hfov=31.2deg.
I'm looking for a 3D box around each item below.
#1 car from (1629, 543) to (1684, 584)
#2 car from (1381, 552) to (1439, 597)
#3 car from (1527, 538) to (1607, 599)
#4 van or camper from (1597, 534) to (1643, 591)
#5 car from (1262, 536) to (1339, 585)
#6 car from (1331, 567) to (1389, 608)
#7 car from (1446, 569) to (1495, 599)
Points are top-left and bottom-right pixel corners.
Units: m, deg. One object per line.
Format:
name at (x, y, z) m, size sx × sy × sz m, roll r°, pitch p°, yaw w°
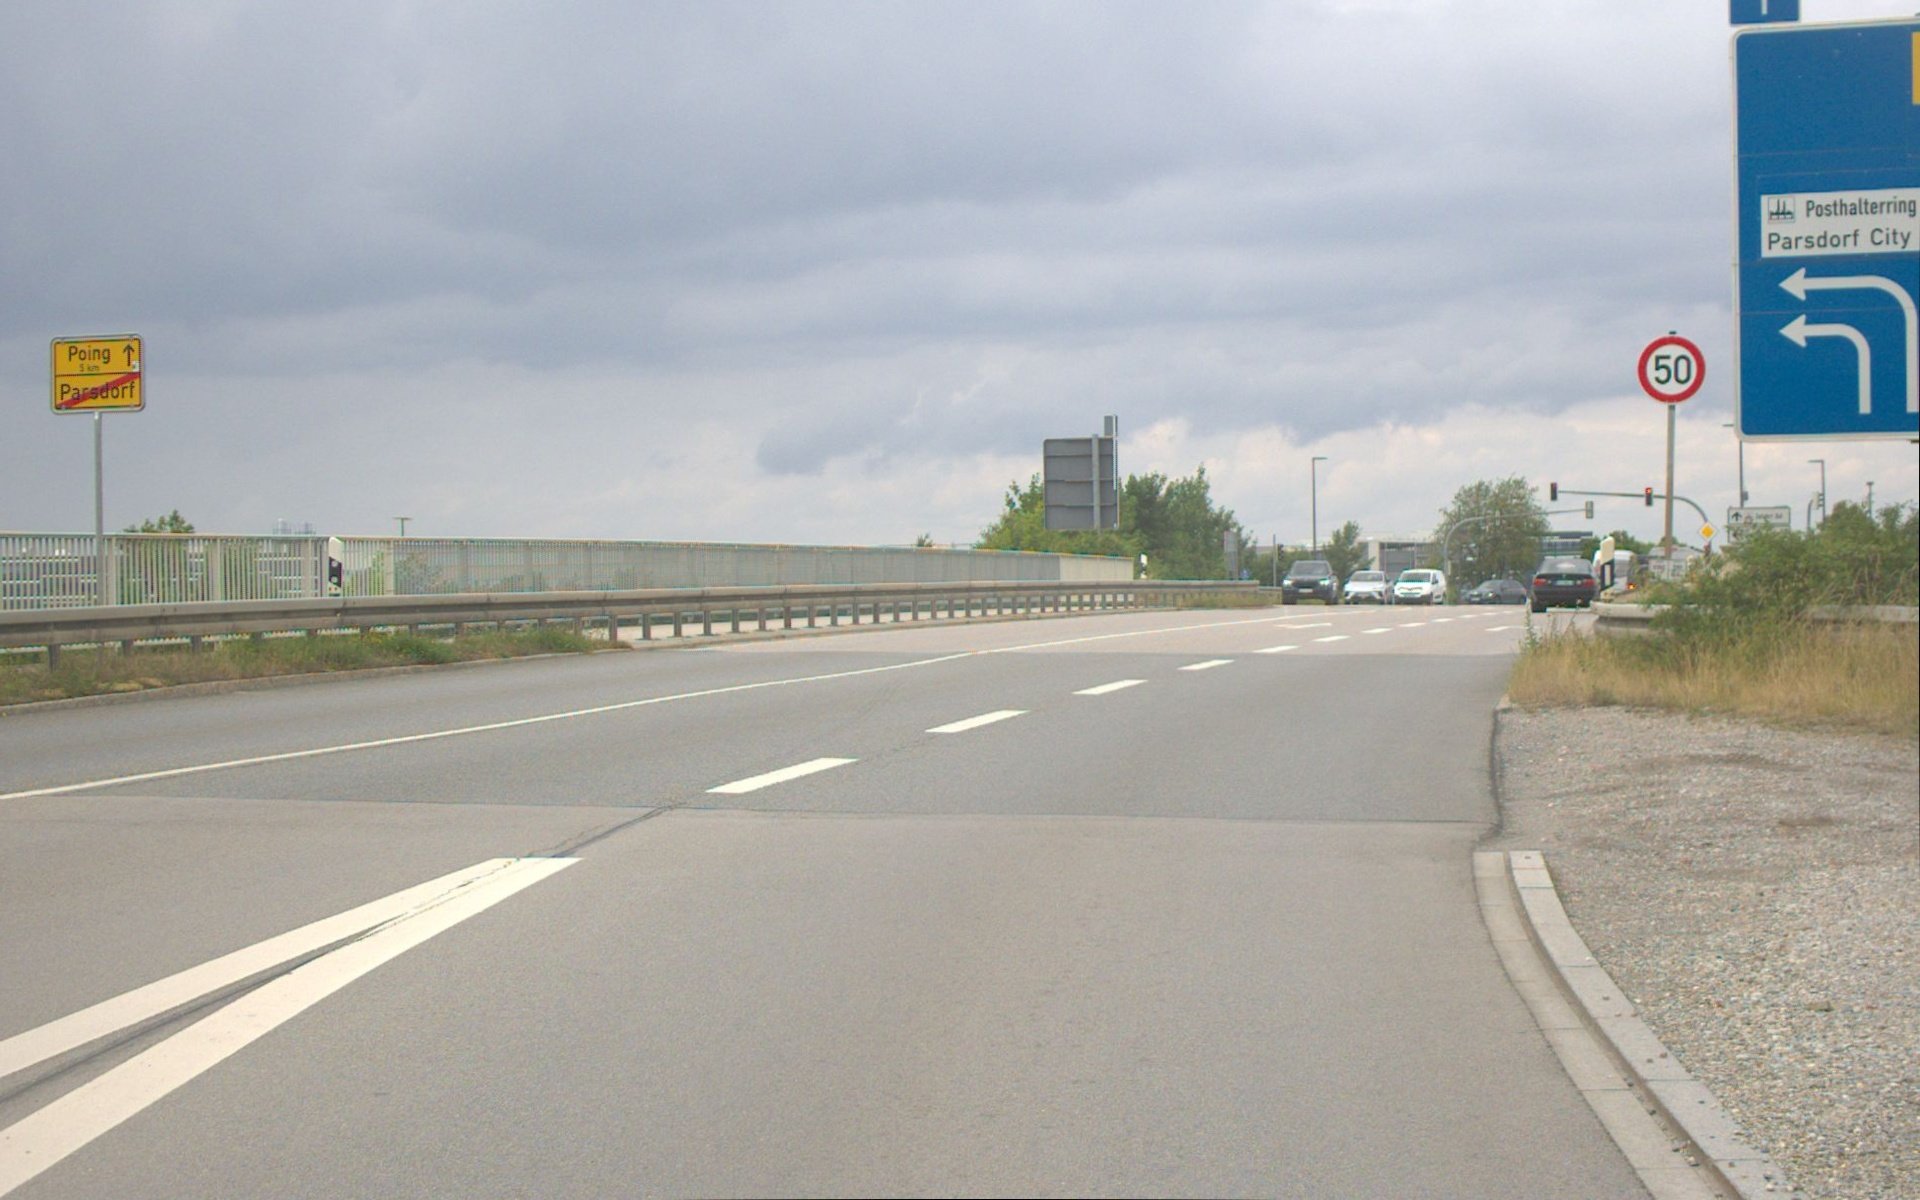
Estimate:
car at (26.601, -1.379, 131.230) m, size 1.683 × 1.539 × 3.612 m, roll 0°, pitch 0°, yaw 17°
car at (21.927, -1.245, 167.386) m, size 1.955 × 1.868 × 4.817 m, roll 4°, pitch 4°, yaw 17°
car at (15.030, -0.766, 84.989) m, size 1.519 × 1.480 × 3.612 m, roll 0°, pitch 0°, yaw 17°
van or camper at (30.361, -1.707, 158.130) m, size 1.877 × 2.572 × 3.997 m, roll 1°, pitch 0°, yaw 13°
car at (13.544, -1.544, 136.568) m, size 1.995 × 1.726 × 4.758 m, roll 4°, pitch 1°, yaw 17°
car at (17.504, -0.547, 150.361) m, size 1.713 × 1.481 × 4.276 m, roll 4°, pitch 4°, yaw 17°
car at (27.095, -0.845, 182.404) m, size 1.584 × 1.552 × 4.141 m, roll 1°, pitch 0°, yaw 23°
